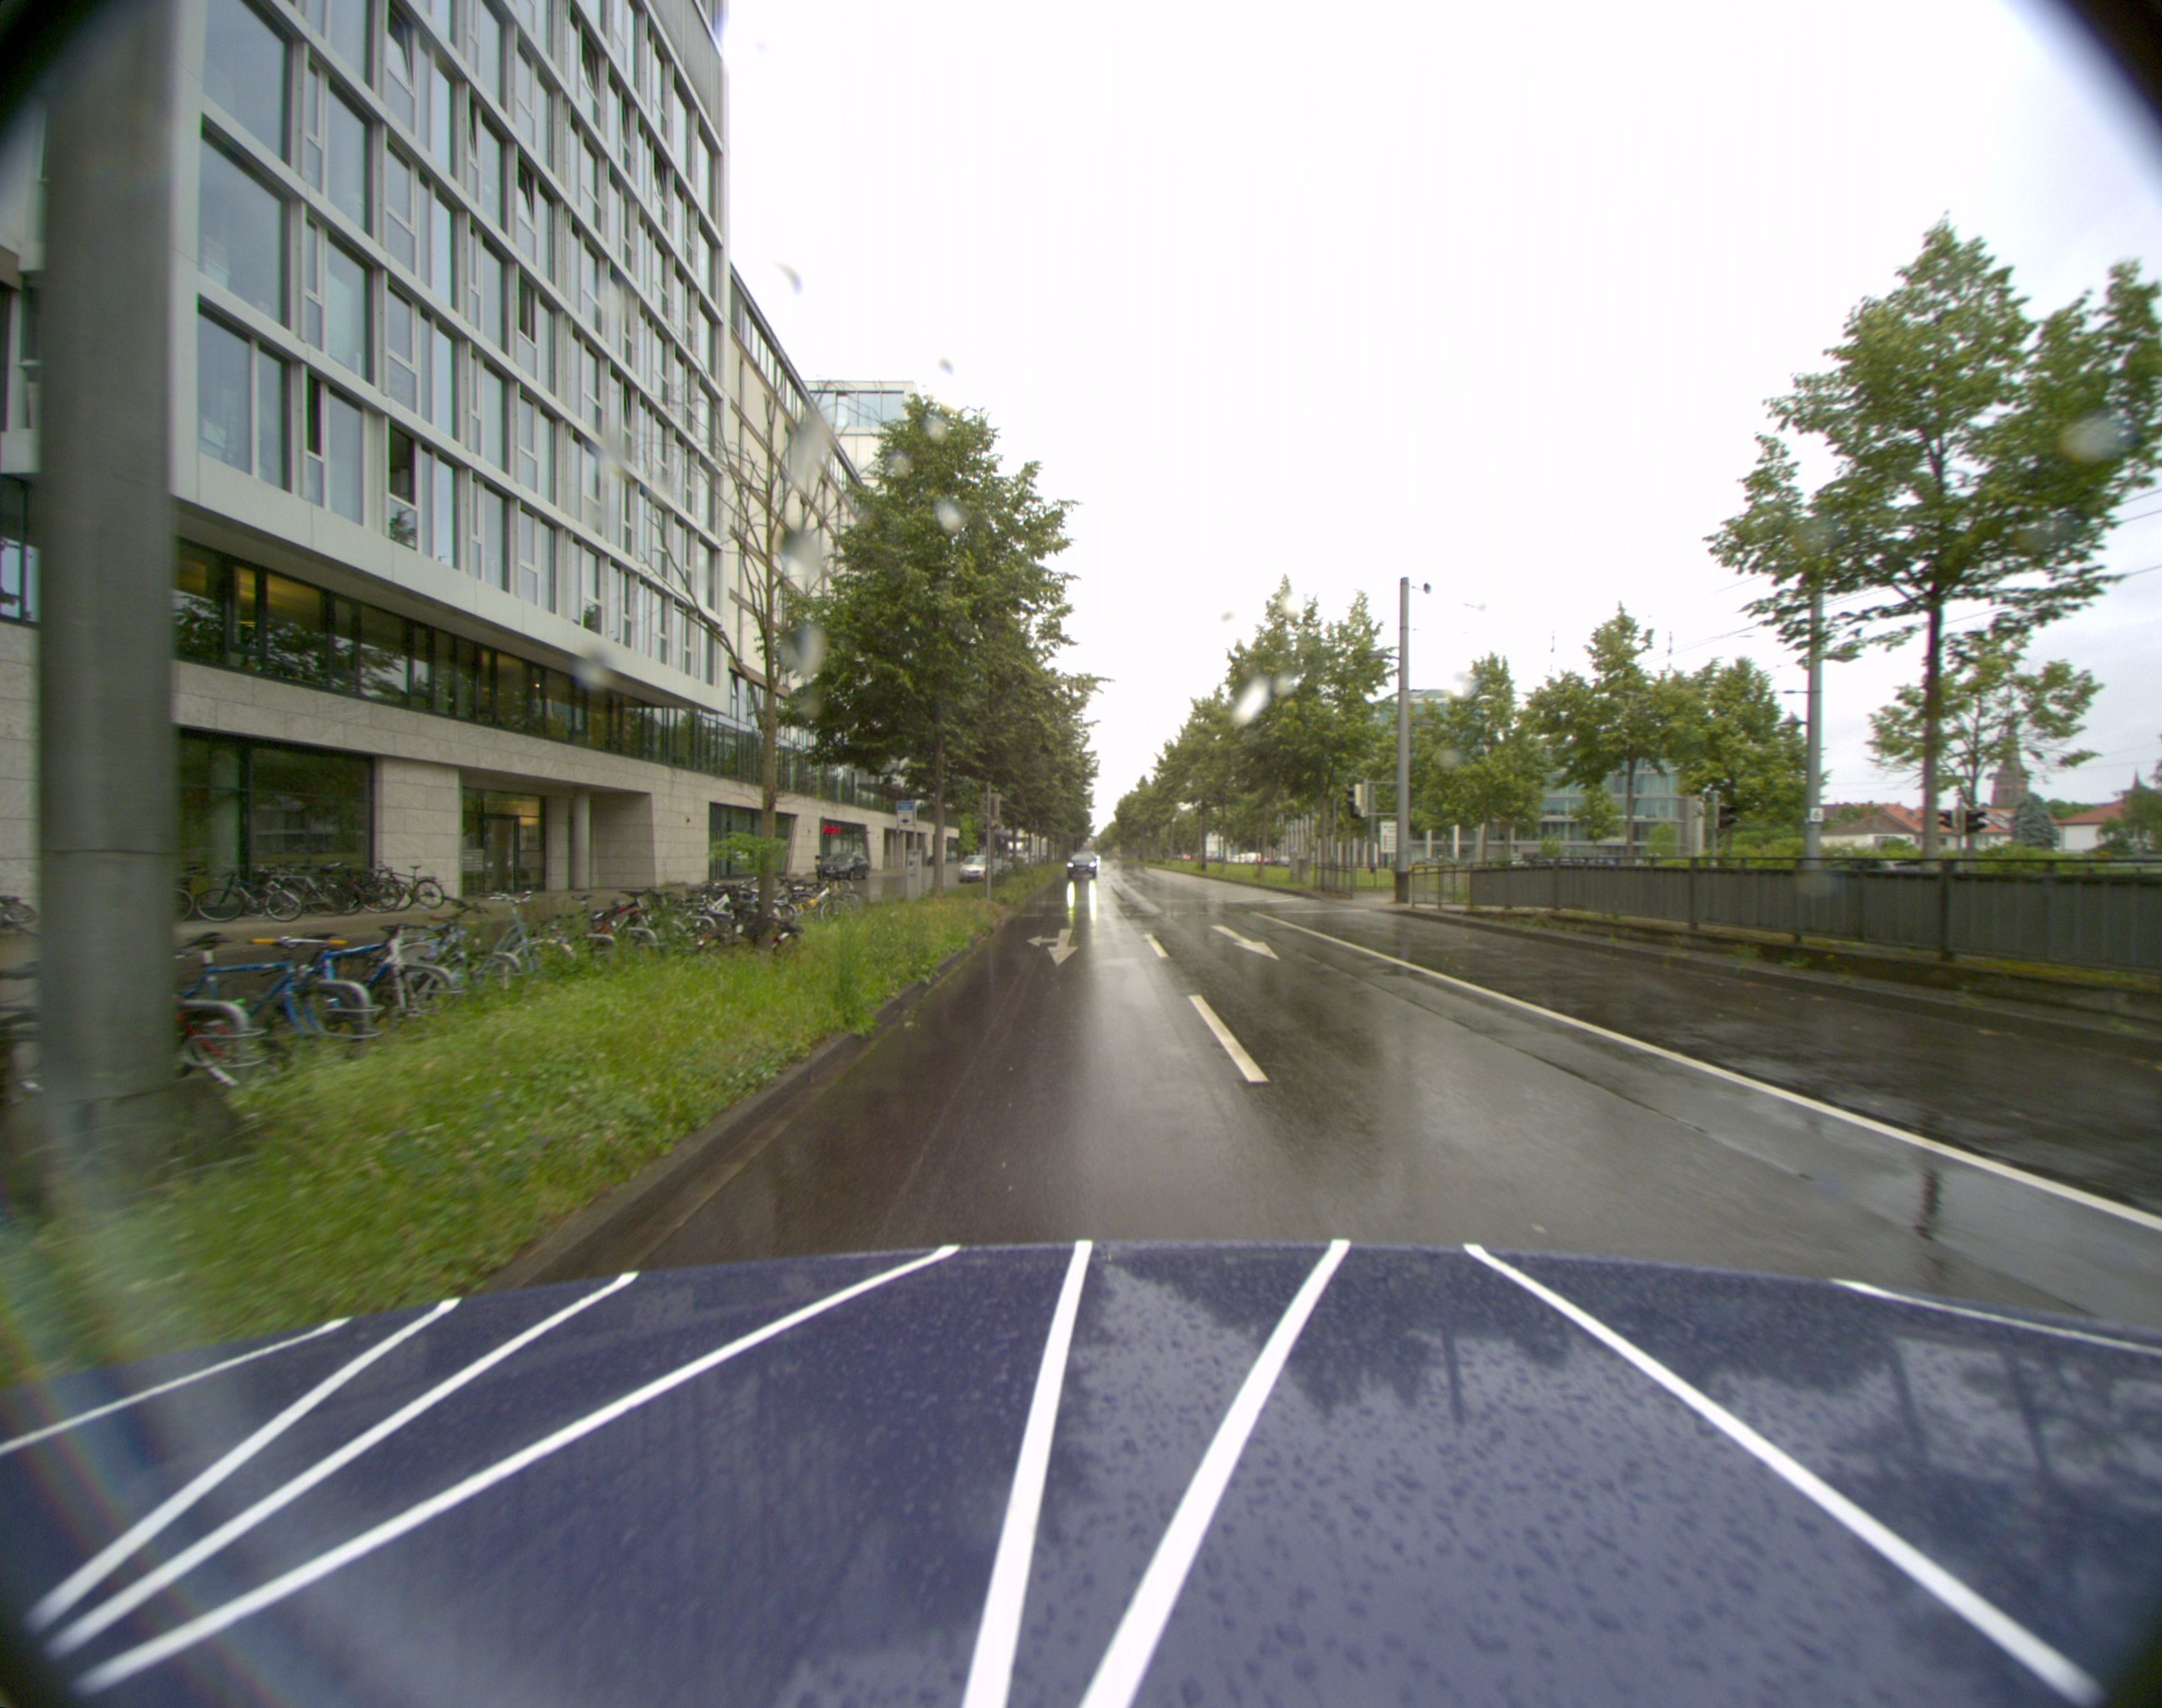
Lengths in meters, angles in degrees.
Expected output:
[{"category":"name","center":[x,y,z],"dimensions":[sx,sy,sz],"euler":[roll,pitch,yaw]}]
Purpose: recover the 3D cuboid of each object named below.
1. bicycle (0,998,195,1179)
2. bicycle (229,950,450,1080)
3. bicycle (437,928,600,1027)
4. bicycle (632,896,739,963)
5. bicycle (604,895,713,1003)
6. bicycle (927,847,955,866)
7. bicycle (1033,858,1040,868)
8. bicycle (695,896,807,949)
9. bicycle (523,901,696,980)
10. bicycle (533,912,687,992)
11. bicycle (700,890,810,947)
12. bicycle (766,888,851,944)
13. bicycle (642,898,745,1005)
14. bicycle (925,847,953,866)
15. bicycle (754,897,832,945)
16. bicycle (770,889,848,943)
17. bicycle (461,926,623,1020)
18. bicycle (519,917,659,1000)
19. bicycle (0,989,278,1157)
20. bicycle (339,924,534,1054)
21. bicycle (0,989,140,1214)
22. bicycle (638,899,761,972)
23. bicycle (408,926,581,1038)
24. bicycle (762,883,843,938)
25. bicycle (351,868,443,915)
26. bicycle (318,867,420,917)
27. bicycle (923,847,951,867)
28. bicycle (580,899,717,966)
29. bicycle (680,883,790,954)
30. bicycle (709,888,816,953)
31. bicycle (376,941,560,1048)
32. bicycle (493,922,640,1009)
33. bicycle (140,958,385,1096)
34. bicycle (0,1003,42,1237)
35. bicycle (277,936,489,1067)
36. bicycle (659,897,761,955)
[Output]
[{"category":"bicycle","center":[-5.417,1.201,3.950],"dimensions":[1.292,0.844,0.275],"euler":[1,0,0]},{"category":"bicycle","center":[-5.248,1.132,5.396],"dimensions":[1.292,0.844,0.275],"euler":[1,1,0]},{"category":"bicycle","center":[-5.194,1.138,7.036],"dimensions":[1.292,0.844,0.275],"euler":[1,1,0]},{"category":"bicycle","center":[-5.330,1.016,10.254],"dimensions":[1.292,0.844,0.275],"euler":[1,1,0]},{"category":"bicycle","center":[-3.927,0.850,7.142],"dimensions":[0.275,0.844,1.292],"euler":[1,0,1]},{"category":"bicycle","center":[-14.394,0.286,77.910],"dimensions":[2.685,1.850,0.707],"euler":[1,0,5]},{"category":"bicycle","center":[-3.654,0.749,62.700],"dimensions":[0.343,0.817,1.903],"euler":[1,-2,4]},{"category":"bicycle","center":[-5.516,1.144,12.751],"dimensions":[1.711,0.844,0.313],"euler":[1,0,-3]},{"category":"bicycle","center":[-5.475,1.001,8.846],"dimensions":[1.821,0.844,0.275],"euler":[1,1,0]},{"category":"bicycle","center":[-5.213,1.084,8.438],"dimensions":[1.526,0.844,0.277],"euler":[0,1,0]},{"category":"bicycle","center":[-5.596,1.106,13.100],"dimensions":[1.711,0.942,0.313],"euler":[0,1,-6]},{"category":"bicycle","center":[-5.095,1.162,14.259],"dimensions":[1.456,1.012,0.349],"euler":[0,1,-2]},{"category":"bicycle","center":[-3.623,0.875,7.189],"dimensions":[0.275,0.844,1.292],"euler":[1,0,1]},{"category":"bicycle","center":[-14.394,0.290,77.060],"dimensions":[2.685,1.850,0.707],"euler":[1,0,5]},{"category":"bicycle","center":[-5.260,1.225,13.896],"dimensions":[1.292,0.844,0.275],"euler":[0,1,-5]},{"category":"bicycle","center":[-5.367,1.212,15.019],"dimensions":[1.441,1.011,0.349],"euler":[1,0,7]},{"category":"bicycle","center":[-5.206,1.144,7.367],"dimensions":[1.292,0.844,0.355],"euler":[0,1,0]},{"category":"bicycle","center":[-5.228,1.103,8.093],"dimensions":[1.292,0.844,0.275],"euler":[0,1,0]},{"category":"bicycle","center":[-5.589,1.244,4.372],"dimensions":[1.599,0.844,0.311],"euler":[1,1,0]},{"category":"bicycle","center":[-5.115,1.061,6.050],"dimensions":[1.292,0.983,0.275],"euler":[0,1,0]},{"category":"bicycle","center":[-5.424,1.160,3.620],"dimensions":[1.464,0.974,0.311],"euler":[0,1,0]},{"category":"bicycle","center":[-5.487,1.170,10.947],"dimensions":[1.619,1.016,0.275],"euler":[0,1,0]},{"category":"bicycle","center":[-5.160,1.119,6.704],"dimensions":[1.292,0.913,0.275],"euler":[1,1,0]},{"category":"bicycle","center":[-5.347,1.076,14.616],"dimensions":[1.442,1.011,0.349],"euler":[1,0,5]},{"category":"bicycle","center":[-15.717,0.850,17.464],"dimensions":[1.811,1.022,0.401],"euler":[1,1,3]},{"category":"bicycle","center":[-15.699,0.826,16.772],"dimensions":[1.811,1.022,0.541],"euler":[1,1,3]},{"category":"bicycle","center":[-14.455,0.301,76.314],"dimensions":[2.685,1.850,0.707],"euler":[1,0,5]},{"category":"bicycle","center":[-5.631,1.020,9.914],"dimensions":[1.619,0.844,0.275],"euler":[0,1,0]},{"category":"bicycle","center":[-5.623,1.043,12.376],"dimensions":[1.617,1.090,0.296],"euler":[1,1,-2]},{"category":"bicycle","center":[-5.627,1.174,13.452],"dimensions":[1.711,1.096,0.283],"euler":[1,1,-6]},{"category":"bicycle","center":[-5.109,1.168,6.356],"dimensions":[1.292,0.844,0.275],"euler":[0,1,0]},{"category":"bicycle","center":[-5.201,1.125,7.706],"dimensions":[1.292,0.844,0.275],"euler":[0,1,0]},{"category":"bicycle","center":[-5.374,1.130,5.010],"dimensions":[1.292,0.844,0.275],"euler":[0,1,0]},{"category":"bicycle","center":[-5.333,1.156,3.288],"dimensions":[1.292,0.990,0.275],"euler":[1,1,0]},{"category":"bicycle","center":[-5.243,1.099,5.725],"dimensions":[1.329,0.905,0.275],"euler":[1,1,0]},{"category":"bicycle","center":[-5.709,1.109,11.710],"dimensions":[1.409,0.844,0.275],"euler":[1,1,-2]}]
